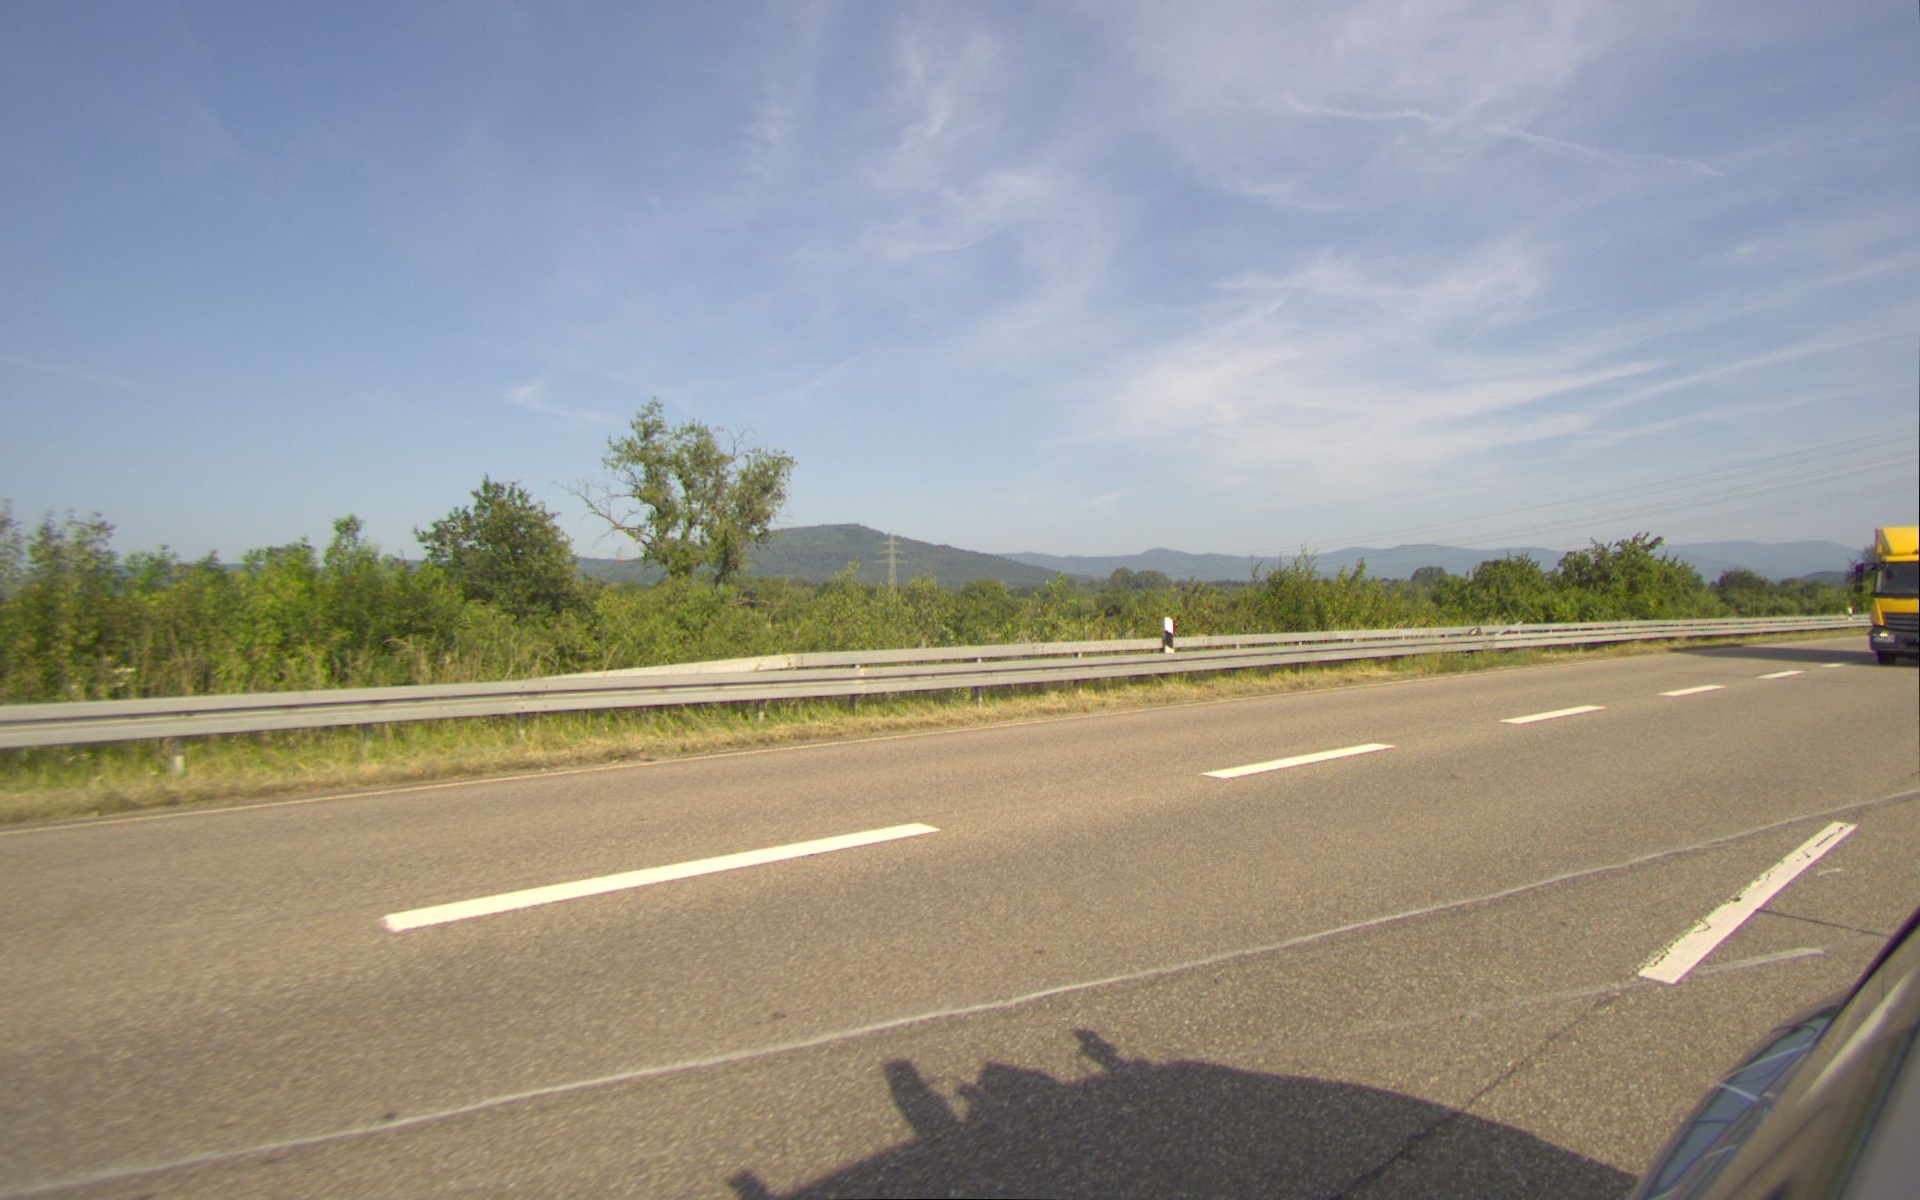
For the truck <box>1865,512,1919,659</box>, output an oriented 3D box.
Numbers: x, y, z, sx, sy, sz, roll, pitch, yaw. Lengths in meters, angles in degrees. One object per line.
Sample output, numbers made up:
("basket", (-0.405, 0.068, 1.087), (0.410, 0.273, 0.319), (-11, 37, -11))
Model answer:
("truck", (26.091, -0.320, 25.918), (10.300, 3.359, 2.785), (0, 0, -39))
